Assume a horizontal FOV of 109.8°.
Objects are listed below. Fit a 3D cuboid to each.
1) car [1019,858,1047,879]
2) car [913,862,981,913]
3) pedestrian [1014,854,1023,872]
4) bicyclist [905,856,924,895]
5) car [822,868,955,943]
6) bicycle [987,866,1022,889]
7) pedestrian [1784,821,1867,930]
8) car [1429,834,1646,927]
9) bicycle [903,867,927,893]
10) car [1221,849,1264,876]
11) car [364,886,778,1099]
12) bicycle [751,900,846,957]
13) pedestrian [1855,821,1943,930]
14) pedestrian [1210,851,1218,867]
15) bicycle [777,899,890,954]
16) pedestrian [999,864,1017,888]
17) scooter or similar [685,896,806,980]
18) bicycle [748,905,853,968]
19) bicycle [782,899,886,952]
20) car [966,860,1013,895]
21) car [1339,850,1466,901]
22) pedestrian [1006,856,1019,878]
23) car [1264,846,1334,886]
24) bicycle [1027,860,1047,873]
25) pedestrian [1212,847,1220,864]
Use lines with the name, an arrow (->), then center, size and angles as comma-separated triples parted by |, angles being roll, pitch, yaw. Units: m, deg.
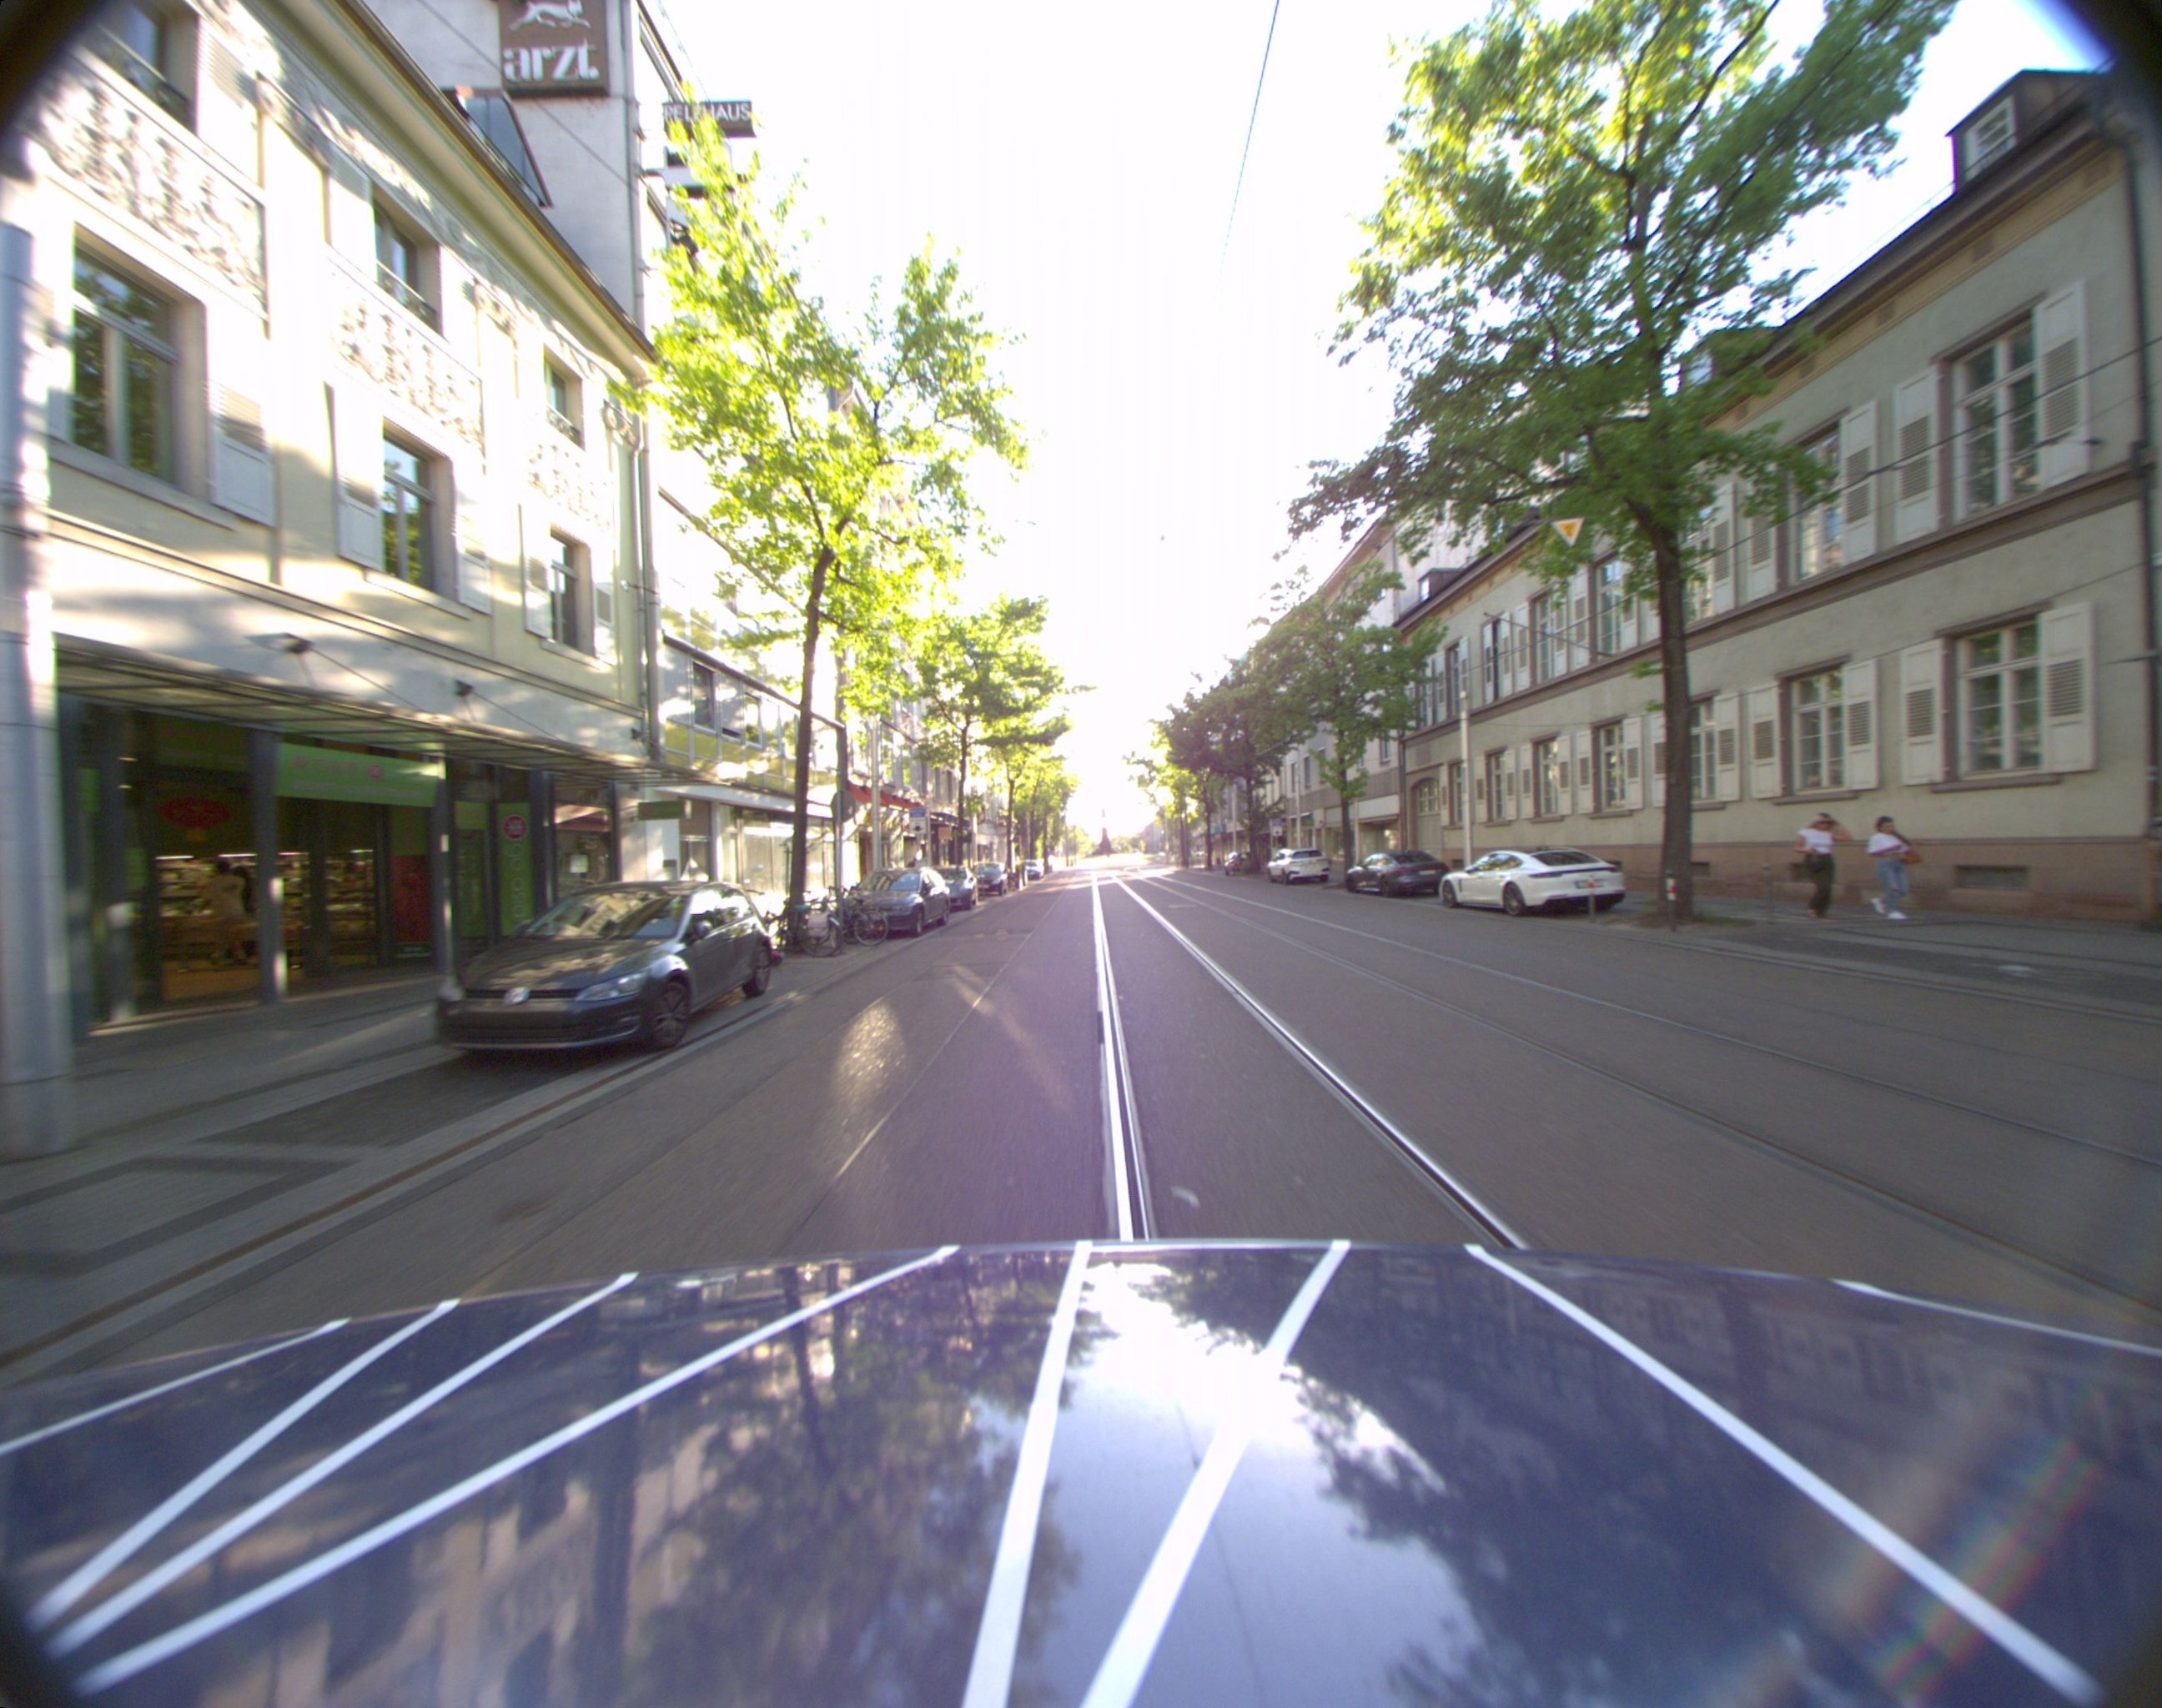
car -> -3.682, 1.099, 59.147 | 1.780, 1.432, 4.422 | 1, 1, 1
car -> -4.436, 1.080, 25.625 | 1.820, 1.477, 3.998 | 2, 0, -4
pedestrian -> -7.106, 0.982, 86.332 | 0.846, 2.002, 0.843 | -2, 1, -8
bicyclist -> -7.242, 0.943, 33.104 | 0.640, 1.674, 0.599 | -1, 1, -1
car -> -4.322, 1.099, 17.725 | 1.875, 1.444, 4.106 | 0, 0, 3
bicycle -> -3.962, 1.222, 39.307 | 1.728, 1.132, 0.547 | 0, 1, 21
pedestrian -> 12.108, 0.344, 12.373 | 0.688, 1.711, 0.656 | -2, 1, 1
car -> 9.957, 0.488, 17.159 | 1.951, 1.630, 4.909 | -5, 0, 2
bicycle -> -7.240, 1.136, 33.262 | 0.649, 1.068, 1.861 | -1, 0, -1
car -> 10.811, 0.541, 51.027 | 1.967, 1.630, 4.000 | -5, 0, 1
car -> -4.701, 1.168, 7.850 | 1.843, 1.428, 3.998 | 2, 0, -6
bicycle -> -5.112, 1.346, 13.773 | 1.541, 0.959, 0.496 | -2, 1, 8
pedestrian -> 12.936, 0.331, 12.032 | 0.676, 1.670, 0.647 | -2, 1, 1
pedestrian -> 16.422, 0.613, 94.038 | 0.798, 2.002, 0.734 | -2, 1, 2
bicycle -> -4.632, 1.354, 14.245 | 2.041, 0.959, 0.282 | -2, 1, 6
pedestrian -> -3.964, 1.185, 41.042 | 0.819, 1.258, 0.586 | -2, 1, 6
scooter or similar -> -5.155, 1.285, 11.721 | 1.541, 1.189, 0.675 | -2, 1, 5
bicycle -> -4.645, 1.357, 12.625 | 1.541, 0.959, 0.496 | -2, 1, 5
bicycle -> -4.742, 1.368, 14.593 | 1.900, 0.959, 0.332 | -2, 1, 6
car -> -4.114, 1.047, 34.690 | 1.805, 1.450, 3.654 | 0, 1, -1
car -> 10.318, 0.618, 24.874 | 1.967, 1.404, 4.845 | -2, 0, -2
pedestrian -> -5.147, 0.979, 57.085 | 0.805, 1.633, 0.756 | -1, 1, 1
car -> 10.328, 0.533, 36.331 | 1.966, 1.630, 4.812 | -5, 0, 1
bicycle -> -4.121, 1.202, 71.415 | 1.870, 1.148, 0.348 | -2, 1, 3
pedestrian -> 16.160, 0.131, 91.099 | 0.798, 2.002, 0.734 | -2, 1, 2
